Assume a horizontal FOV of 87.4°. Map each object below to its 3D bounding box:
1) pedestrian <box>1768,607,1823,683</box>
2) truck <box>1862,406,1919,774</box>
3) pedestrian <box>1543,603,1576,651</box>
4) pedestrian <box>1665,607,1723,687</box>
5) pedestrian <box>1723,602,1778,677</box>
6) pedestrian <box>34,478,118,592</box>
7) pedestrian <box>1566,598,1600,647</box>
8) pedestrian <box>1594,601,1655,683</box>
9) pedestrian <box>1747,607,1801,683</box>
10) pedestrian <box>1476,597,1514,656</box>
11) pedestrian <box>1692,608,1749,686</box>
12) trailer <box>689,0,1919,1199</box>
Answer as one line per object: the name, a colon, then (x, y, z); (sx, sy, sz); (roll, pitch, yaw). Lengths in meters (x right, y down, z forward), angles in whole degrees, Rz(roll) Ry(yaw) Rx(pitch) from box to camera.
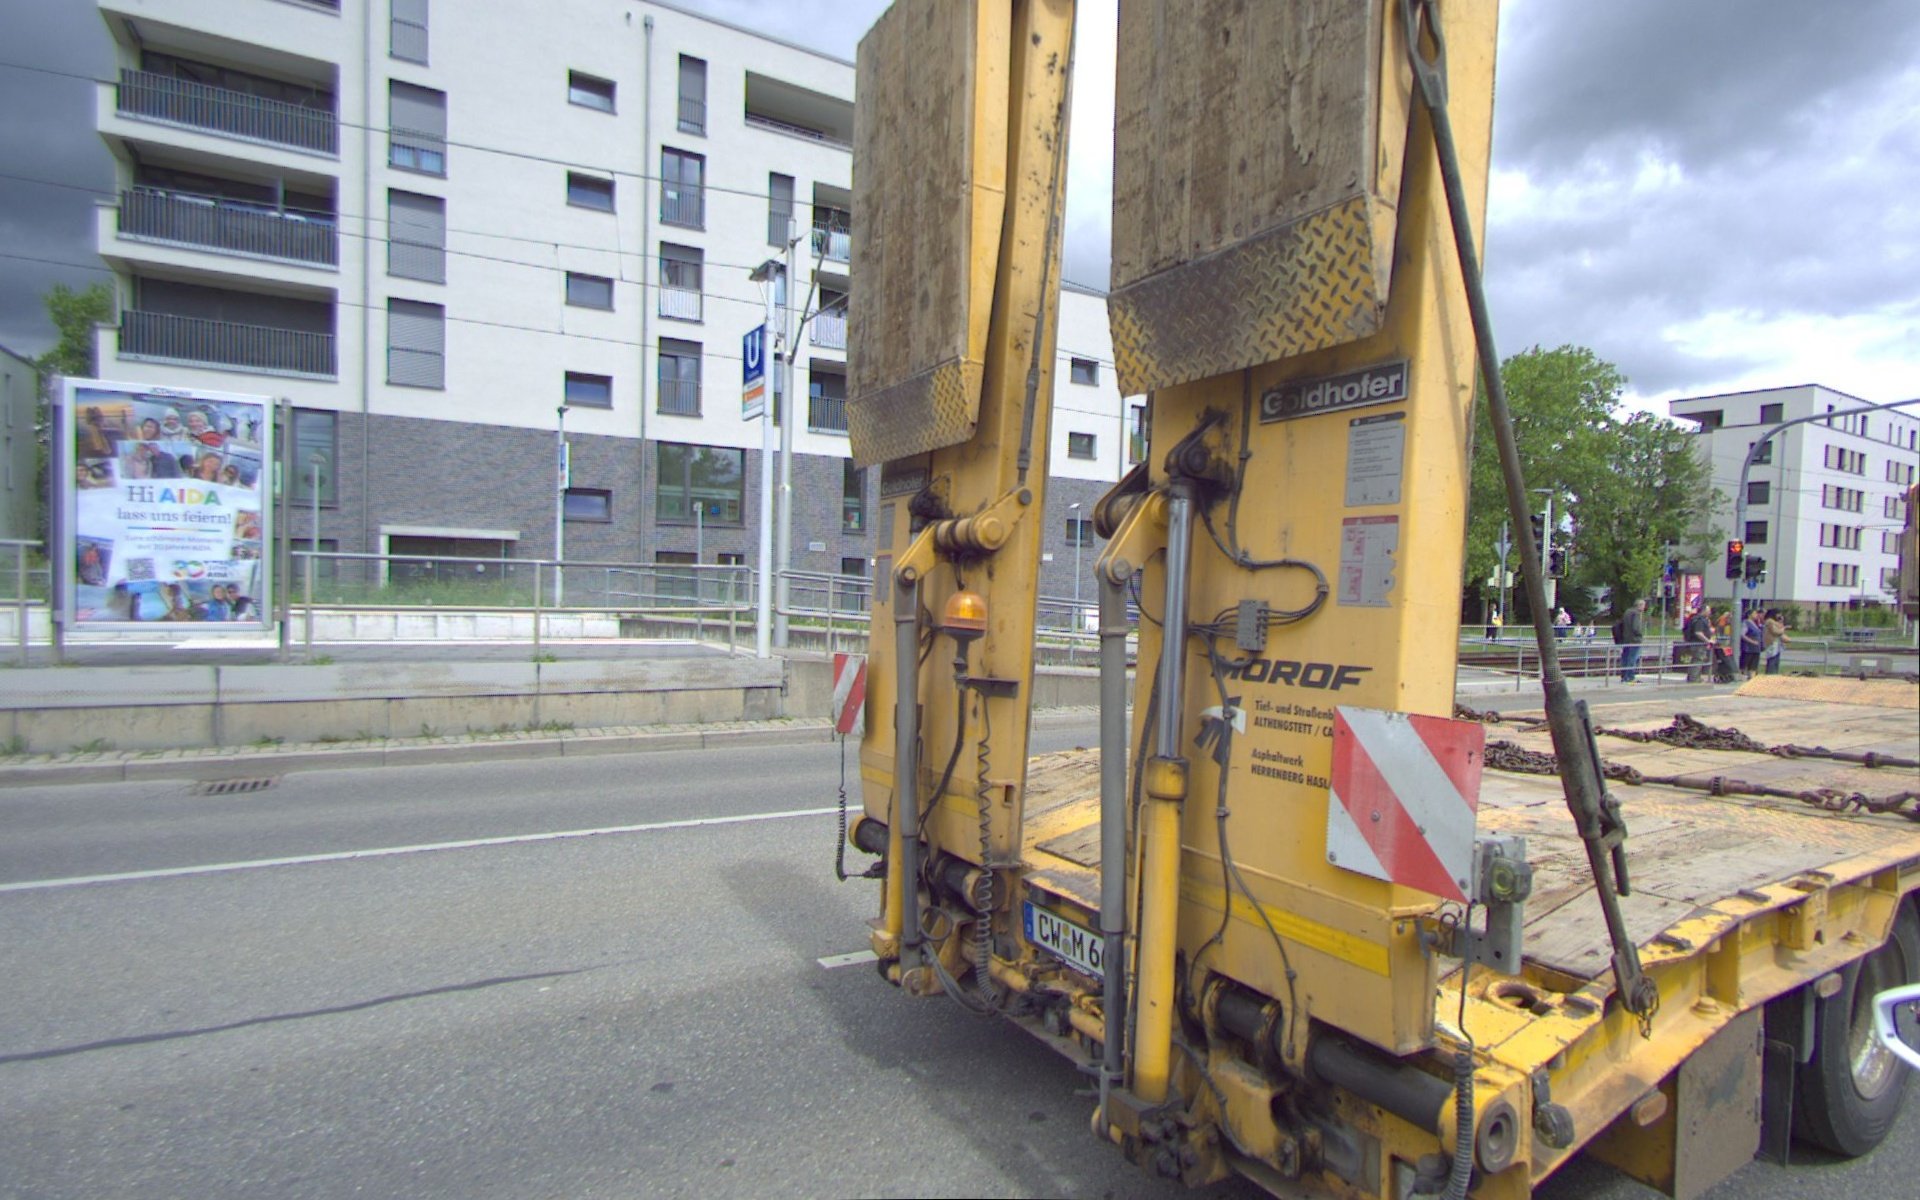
pedestrian: (19.539, 1.039, 23.487); (0.932, 1.692, 0.825); (1, 2, -42)
truck: (12.784, 0.010, 10.411); (8.256, 3.358, 2.739); (1, 1, -31)
pedestrian: (27.628, 1.241, 46.290); (0.924, 2.162, 0.910); (1, 1, -31)
pedestrian: (15.463, 0.987, 21.173); (0.814, 1.624, 0.678); (1, 1, -31)
pedestrian: (17.662, 0.863, 22.458); (0.814, 1.624, 0.678); (1, 1, -31)
pedestrian: (-14.549, -1.050, 16.549); (0.923, 1.789, 0.671); (1, 1, -32)
pedestrian: (27.971, 1.003, 45.121); (0.924, 2.162, 0.910); (1, 1, -31)
pedestrian: (14.163, 0.879, 21.424); (0.675, 1.691, 0.816); (1, 1, -29)
pedestrian: (18.638, 1.020, 23.003); (0.814, 1.692, 0.678); (1, 1, -31)
pedestrian: (20.769, 1.007, 39.002); (0.872, 2.234, 0.910); (1, 1, -31)
pedestrian: (16.480, 1.008, 21.764); (0.814, 1.624, 0.678); (1, 1, -31)
trailer: (4.487, -0.407, 5.362); (11.124, 3.606, 2.715); (1, 1, -31)
